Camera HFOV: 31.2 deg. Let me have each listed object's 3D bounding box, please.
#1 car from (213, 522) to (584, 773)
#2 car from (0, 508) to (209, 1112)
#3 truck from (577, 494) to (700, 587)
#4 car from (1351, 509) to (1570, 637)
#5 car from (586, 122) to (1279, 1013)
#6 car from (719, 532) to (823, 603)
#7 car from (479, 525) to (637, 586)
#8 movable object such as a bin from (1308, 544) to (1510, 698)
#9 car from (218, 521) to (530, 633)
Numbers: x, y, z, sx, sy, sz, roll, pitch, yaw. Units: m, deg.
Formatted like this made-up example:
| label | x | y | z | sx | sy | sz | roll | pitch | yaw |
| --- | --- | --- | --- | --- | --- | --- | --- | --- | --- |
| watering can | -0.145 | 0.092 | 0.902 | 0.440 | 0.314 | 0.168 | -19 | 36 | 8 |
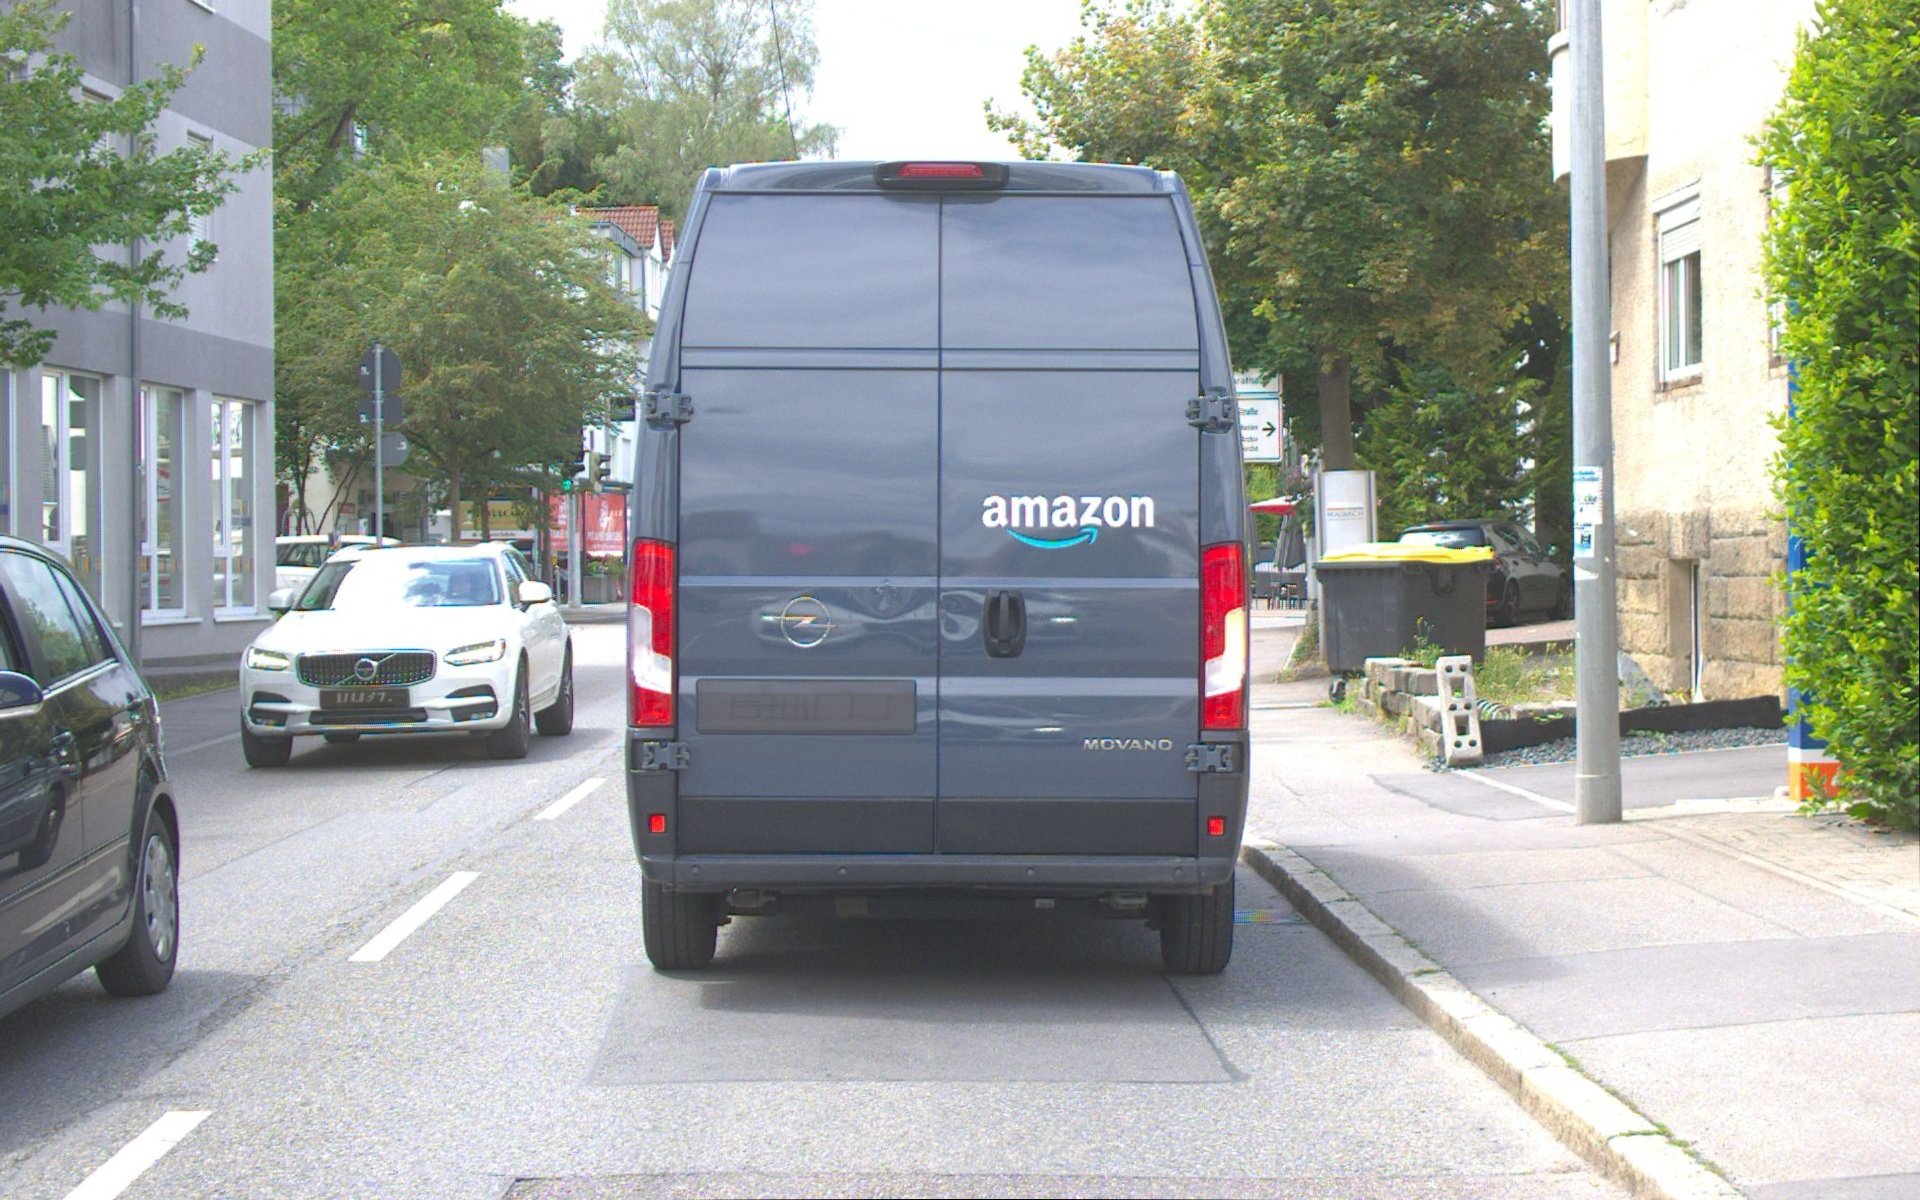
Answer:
| label | x | y | z | sx | sy | sz | roll | pitch | yaw |
| --- | --- | --- | --- | --- | --- | --- | --- | --- | --- |
| car | -3.946 | 0.265 | 24.956 | 1.897 | 1.554 | 4.801 | -3 | 1 | -1 |
| car | -3.464 | 0.563 | 9.727 | 1.832 | 1.579 | 4.038 | -2 | 1 | -1 |
| truck | -8.455 | -1.561 | 91.131 | 2.225 | 2.372 | 6.325 | 1 | 1 | 4 |
| car | 6.906 | -0.397 | 47.111 | 1.754 | 1.512 | 4.074 | -3 | 1 | 26 |
| car | -0.207 | -0.157 | 13.814 | 2.147 | 2.761 | 6.250 | 0 | 1 | -2 |
| car | -3.930 | -0.705 | 72.187 | 1.874 | 1.419 | 4.115 | 1 | 1 | 1 |
| car | -9.782 | -1.095 | 83.861 | 3.692 | 1.420 | 1.805 | 1 | 1 | -2 |
| movable object such as a bin | 3.773 | 0.160 | 28.940 | 1.182 | 1.261 | 1.210 | 0 | 1 | -30 |
| car | -8.485 | -0.352 | 50.003 | 4.212 | 1.508 | 1.822 | 1 | 2 | 1 |
